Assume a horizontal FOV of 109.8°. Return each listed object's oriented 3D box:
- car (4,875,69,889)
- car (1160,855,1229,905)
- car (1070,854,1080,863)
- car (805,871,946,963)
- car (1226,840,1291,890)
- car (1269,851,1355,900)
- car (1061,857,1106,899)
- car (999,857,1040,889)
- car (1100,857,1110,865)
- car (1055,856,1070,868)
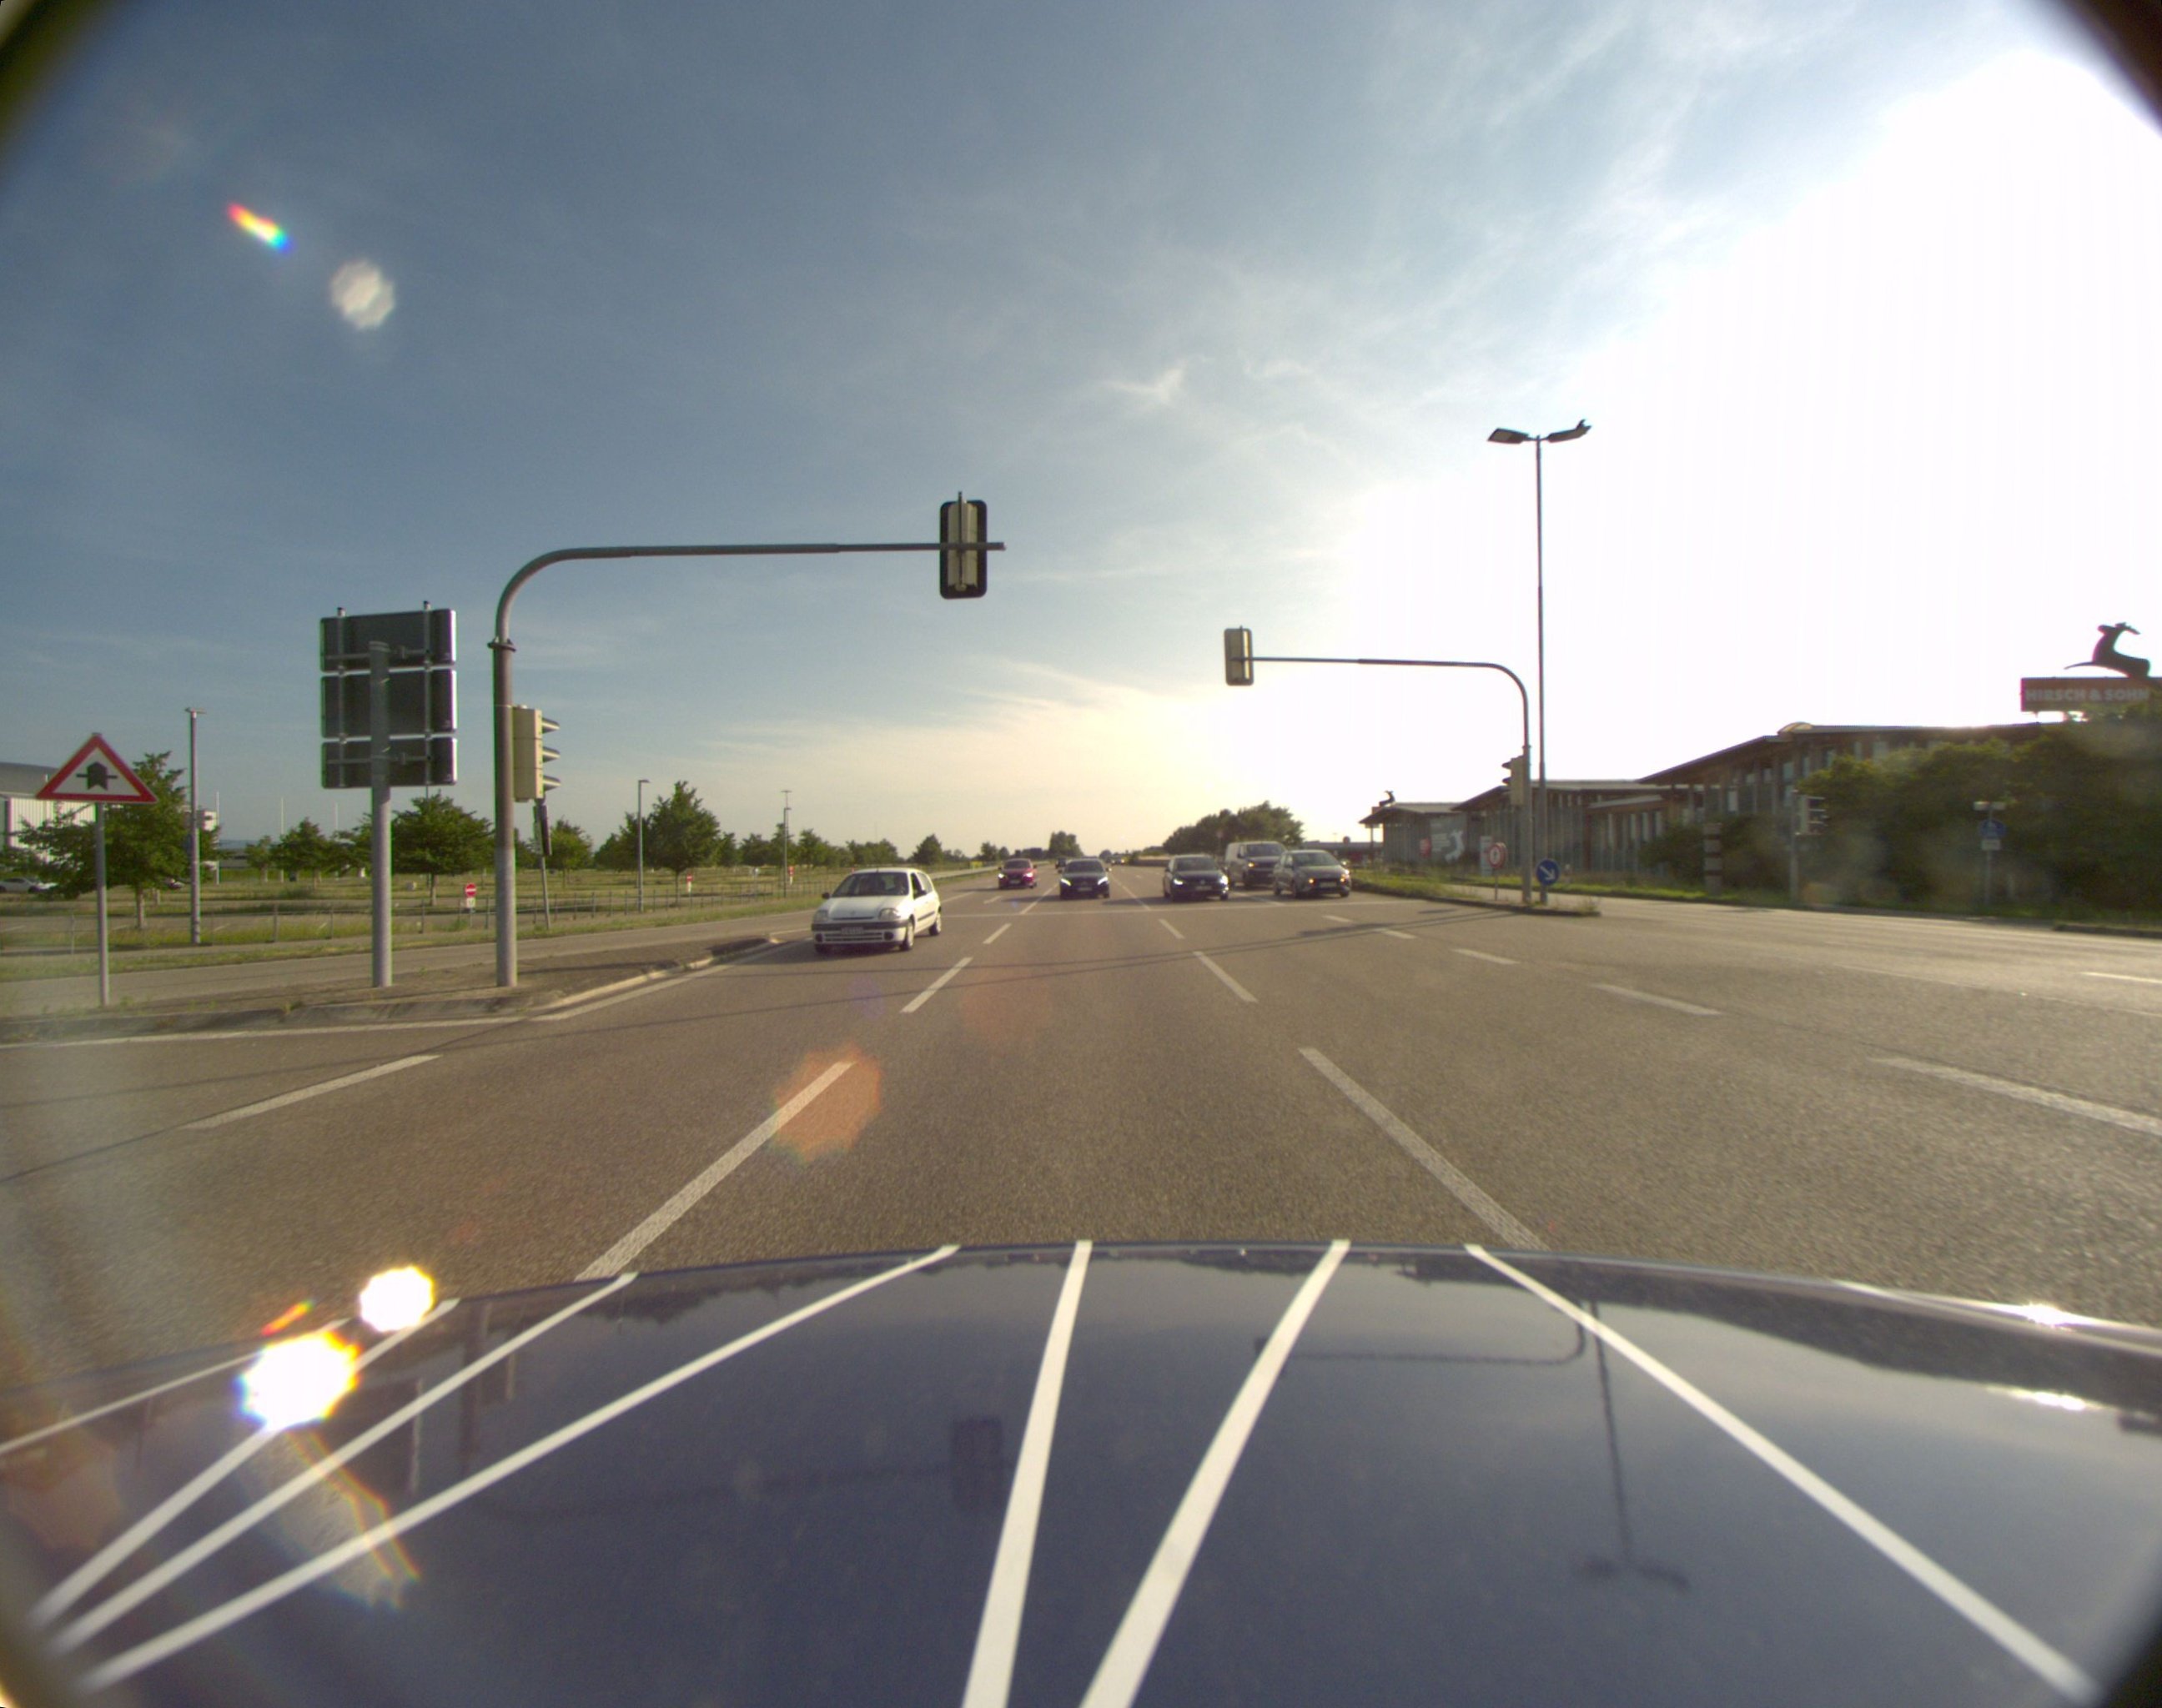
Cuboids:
[{"bbox_3d":[-103.950,2.786,75.648,4.209,1.272,1.486,-2,0,-3],"label":"car"},{"bbox_3d":[3.704,0.801,25.517,1.650,1.462,4.776,-2,0,1],"label":"car"},{"bbox_3d":[-1.087,0.771,138.552,1.751,1.512,3.739,-2,0,1],"label":"car"},{"bbox_3d":[-3.627,1.056,13.997,1.578,1.370,3.452,-2,0,1],"label":"car"},{"bbox_3d":[7.130,0.425,30.902,1.650,1.823,4.226,-2,0,1],"label":"car"},{"bbox_3d":[7.345,0.657,24.497,1.711,1.428,3.565,-2,0,1],"label":"car"},{"bbox_3d":[0.130,0.855,29.359,1.576,1.462,5.022,-1,0,1],"label":"car"},{"bbox_3d":[-3.118,0.955,39.218,1.751,1.512,3.739,-2,0,1],"label":"car"},{"bbox_3d":[4.704,1.310,148.009,1.751,1.512,3.739,-2,0,-1],"label":"car"},{"bbox_3d":[-2.486,1.012,101.785,1.751,1.512,3.739,-2,0,1],"label":"car"}]
